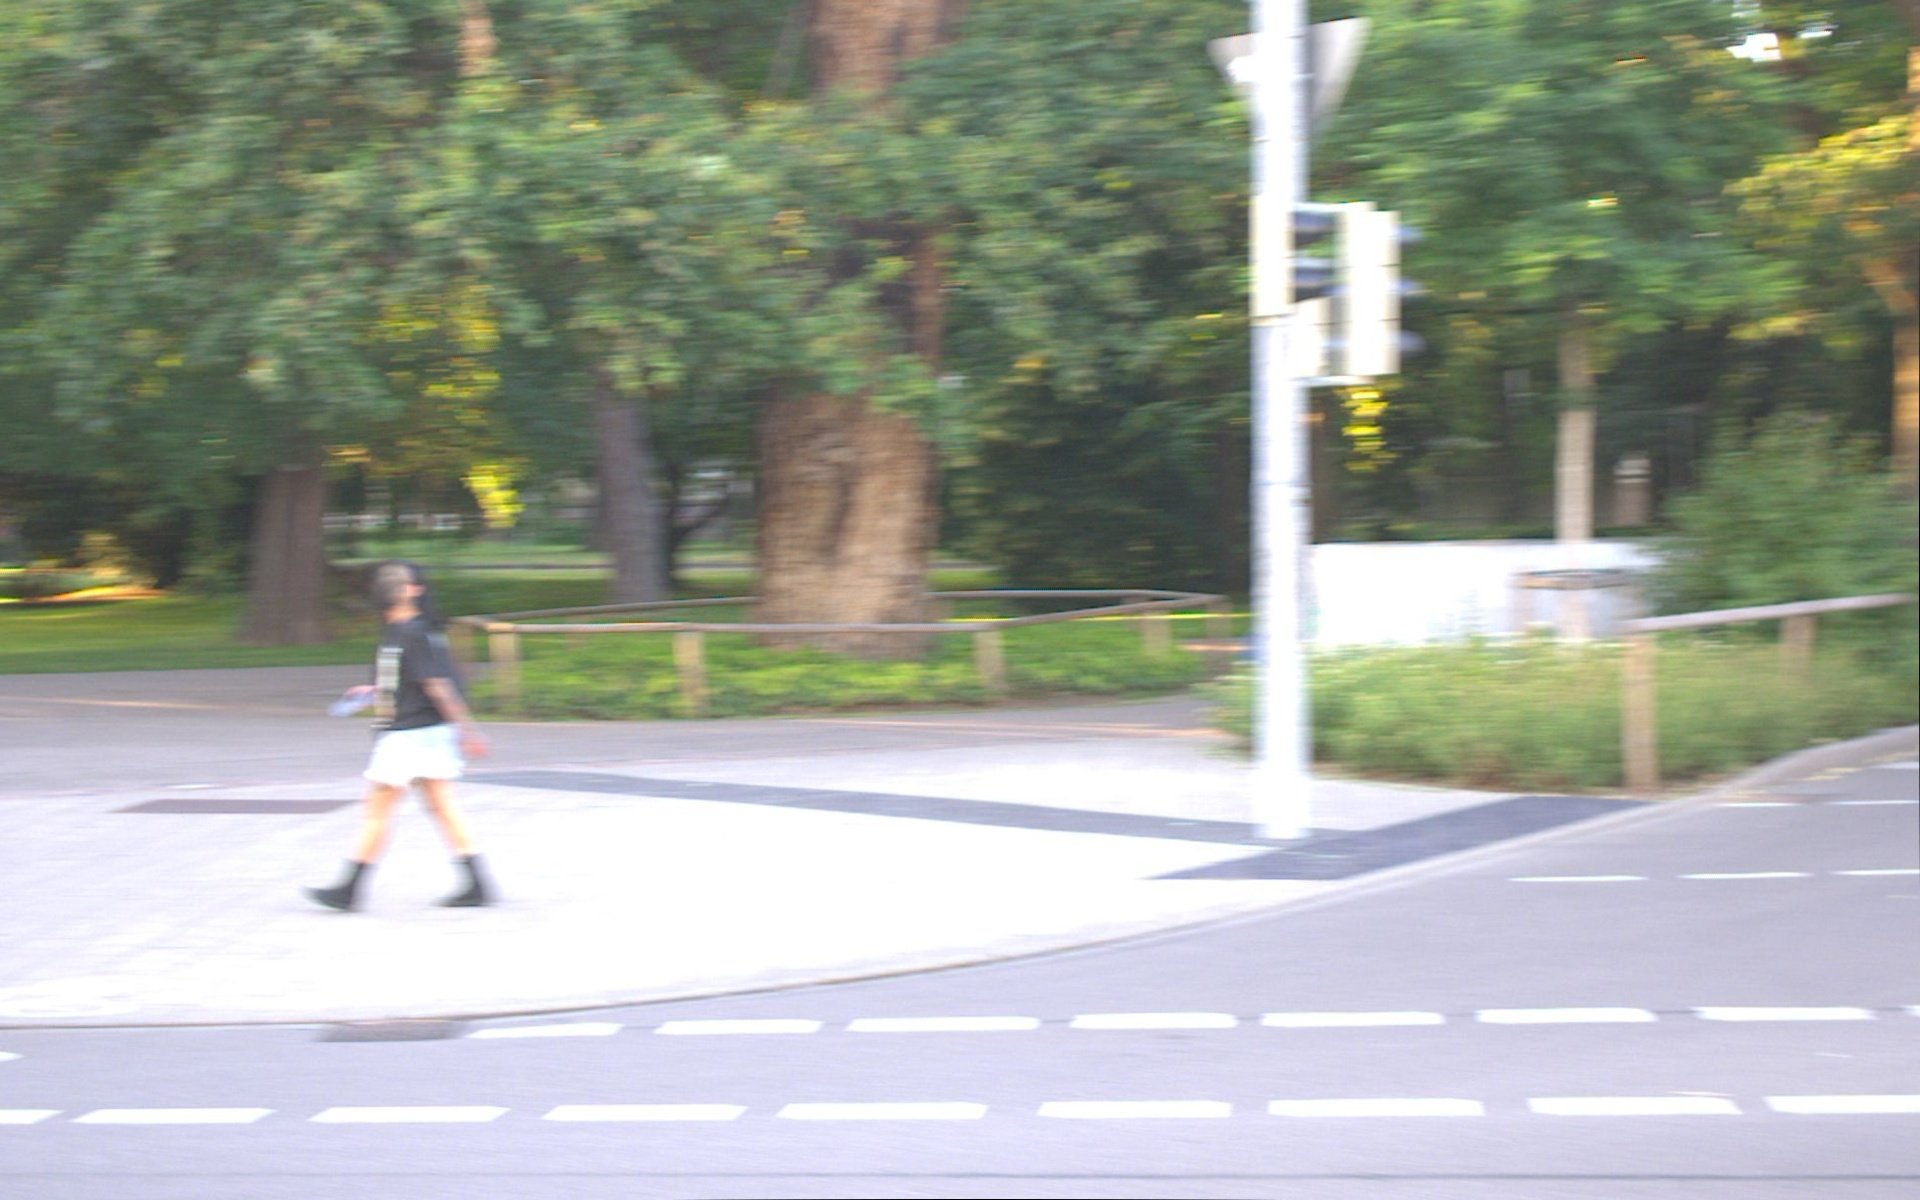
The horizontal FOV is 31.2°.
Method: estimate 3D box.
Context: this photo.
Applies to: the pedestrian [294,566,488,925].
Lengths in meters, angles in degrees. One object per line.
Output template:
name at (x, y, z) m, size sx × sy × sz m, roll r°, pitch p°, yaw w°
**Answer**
pedestrian at (-2.462, 0.617, 14.909) m, size 0.617 × 1.498 × 0.580 m, roll 0°, pitch 3°, yaw 13°
